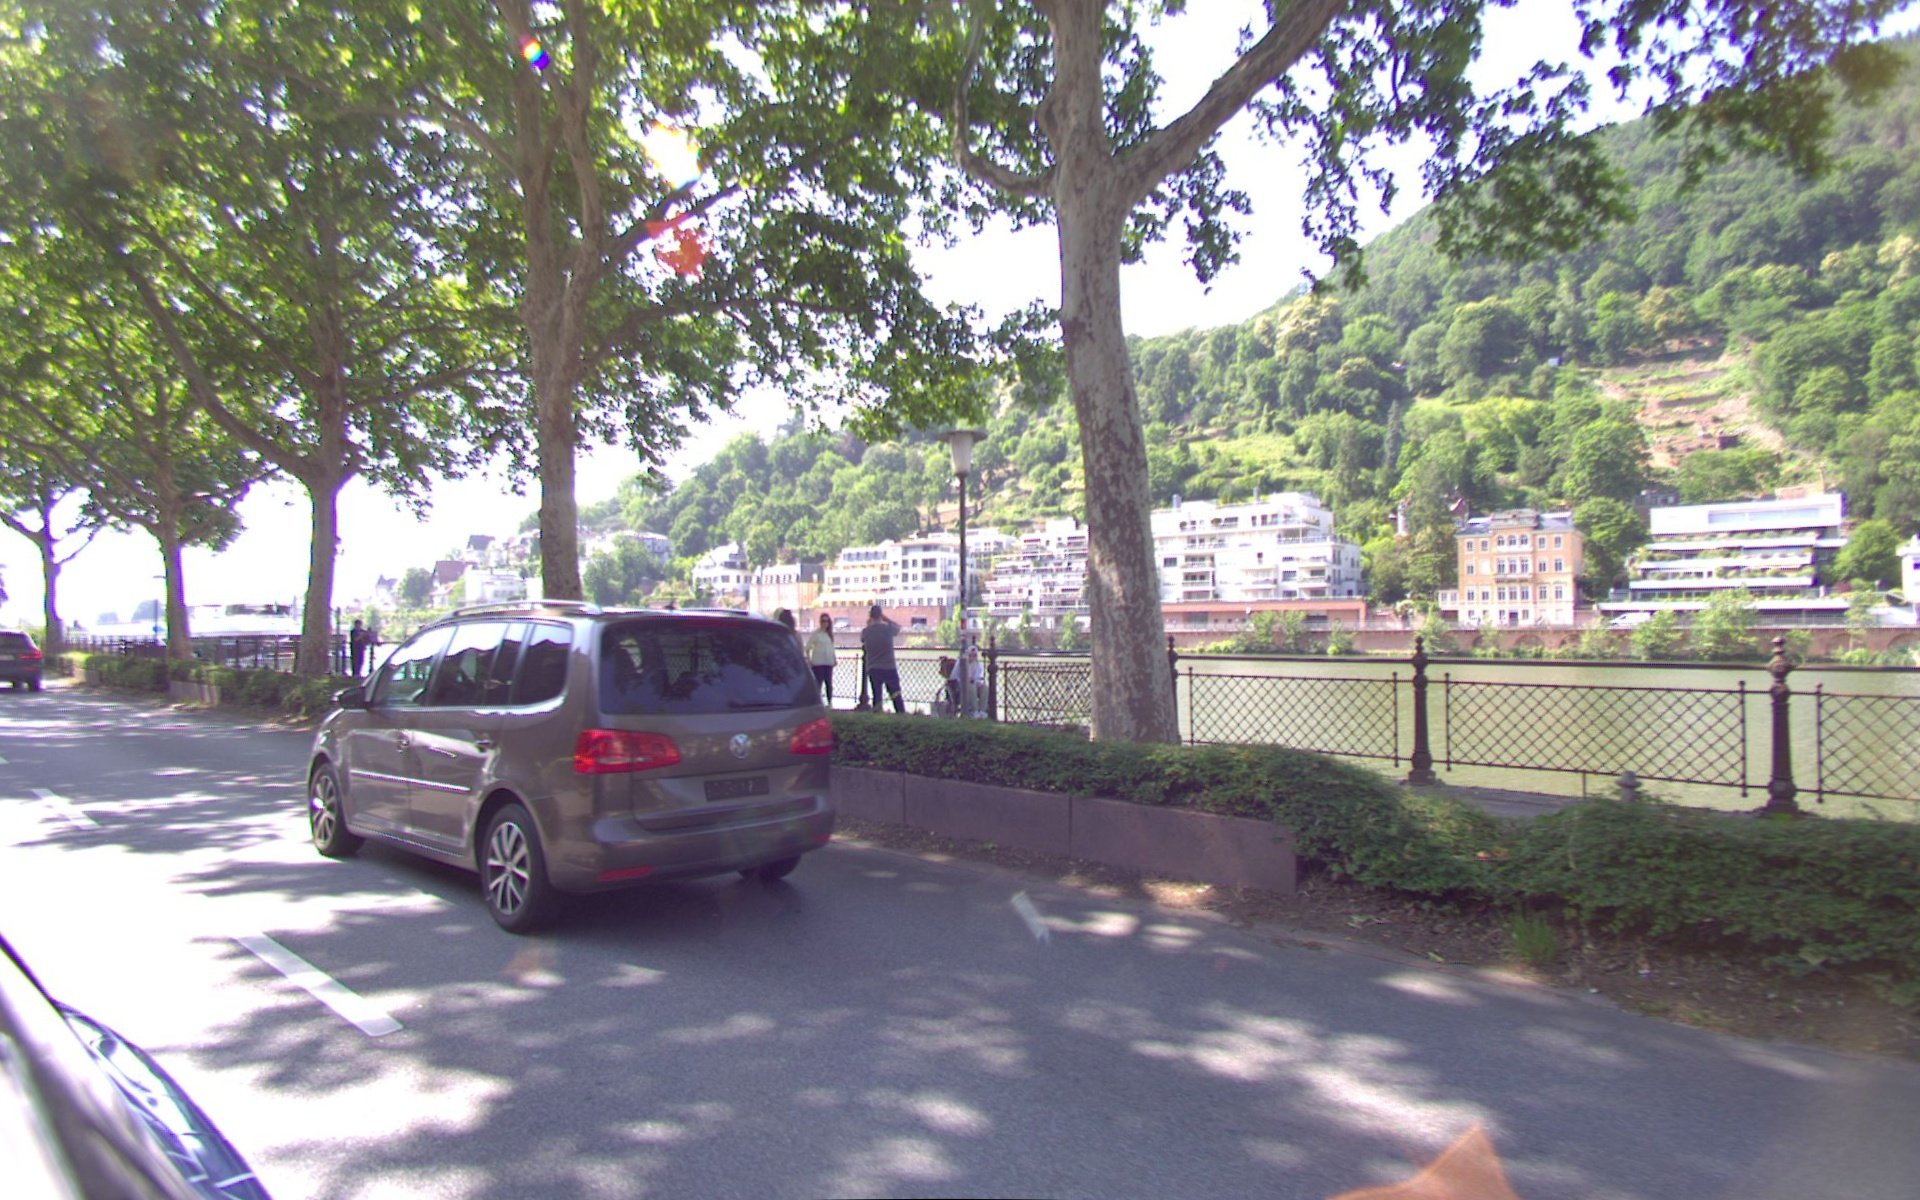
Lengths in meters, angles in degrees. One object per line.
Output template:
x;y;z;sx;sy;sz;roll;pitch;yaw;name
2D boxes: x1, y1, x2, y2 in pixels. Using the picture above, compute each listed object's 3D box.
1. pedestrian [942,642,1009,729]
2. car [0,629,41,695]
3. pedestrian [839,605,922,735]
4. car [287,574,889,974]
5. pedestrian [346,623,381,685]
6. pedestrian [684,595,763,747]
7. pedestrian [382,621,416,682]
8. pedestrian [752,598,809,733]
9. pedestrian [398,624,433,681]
0.218;1.207;14.529;0.695;1.186;0.603;-2;0;42;pedestrian
-26.499;1.656;27.417;4.256;1.711;1.857;-2;-2;41;car
-1.102;0.944;14.058;0.873;1.730;0.686;-2;0;40;pedestrian
-2.493;0.814;6.250;4.088;1.660;1.745;-2;-4;42;car
-17.296;1.552;29.346;0.705;1.744;0.696;-2;-2;43;pedestrian
-3.066;0.907;13.107;0.805;1.884;0.634;-2;-4;42;pedestrian
-16.831;1.536;30.359;0.705;1.810;0.696;-2;-2;43;pedestrian
-2.451;0.878;13.806;0.592;1.782;0.511;-2;-2;42;pedestrian
-15.713;1.503;29.183;0.705;1.615;0.696;-2;-2;43;pedestrian
